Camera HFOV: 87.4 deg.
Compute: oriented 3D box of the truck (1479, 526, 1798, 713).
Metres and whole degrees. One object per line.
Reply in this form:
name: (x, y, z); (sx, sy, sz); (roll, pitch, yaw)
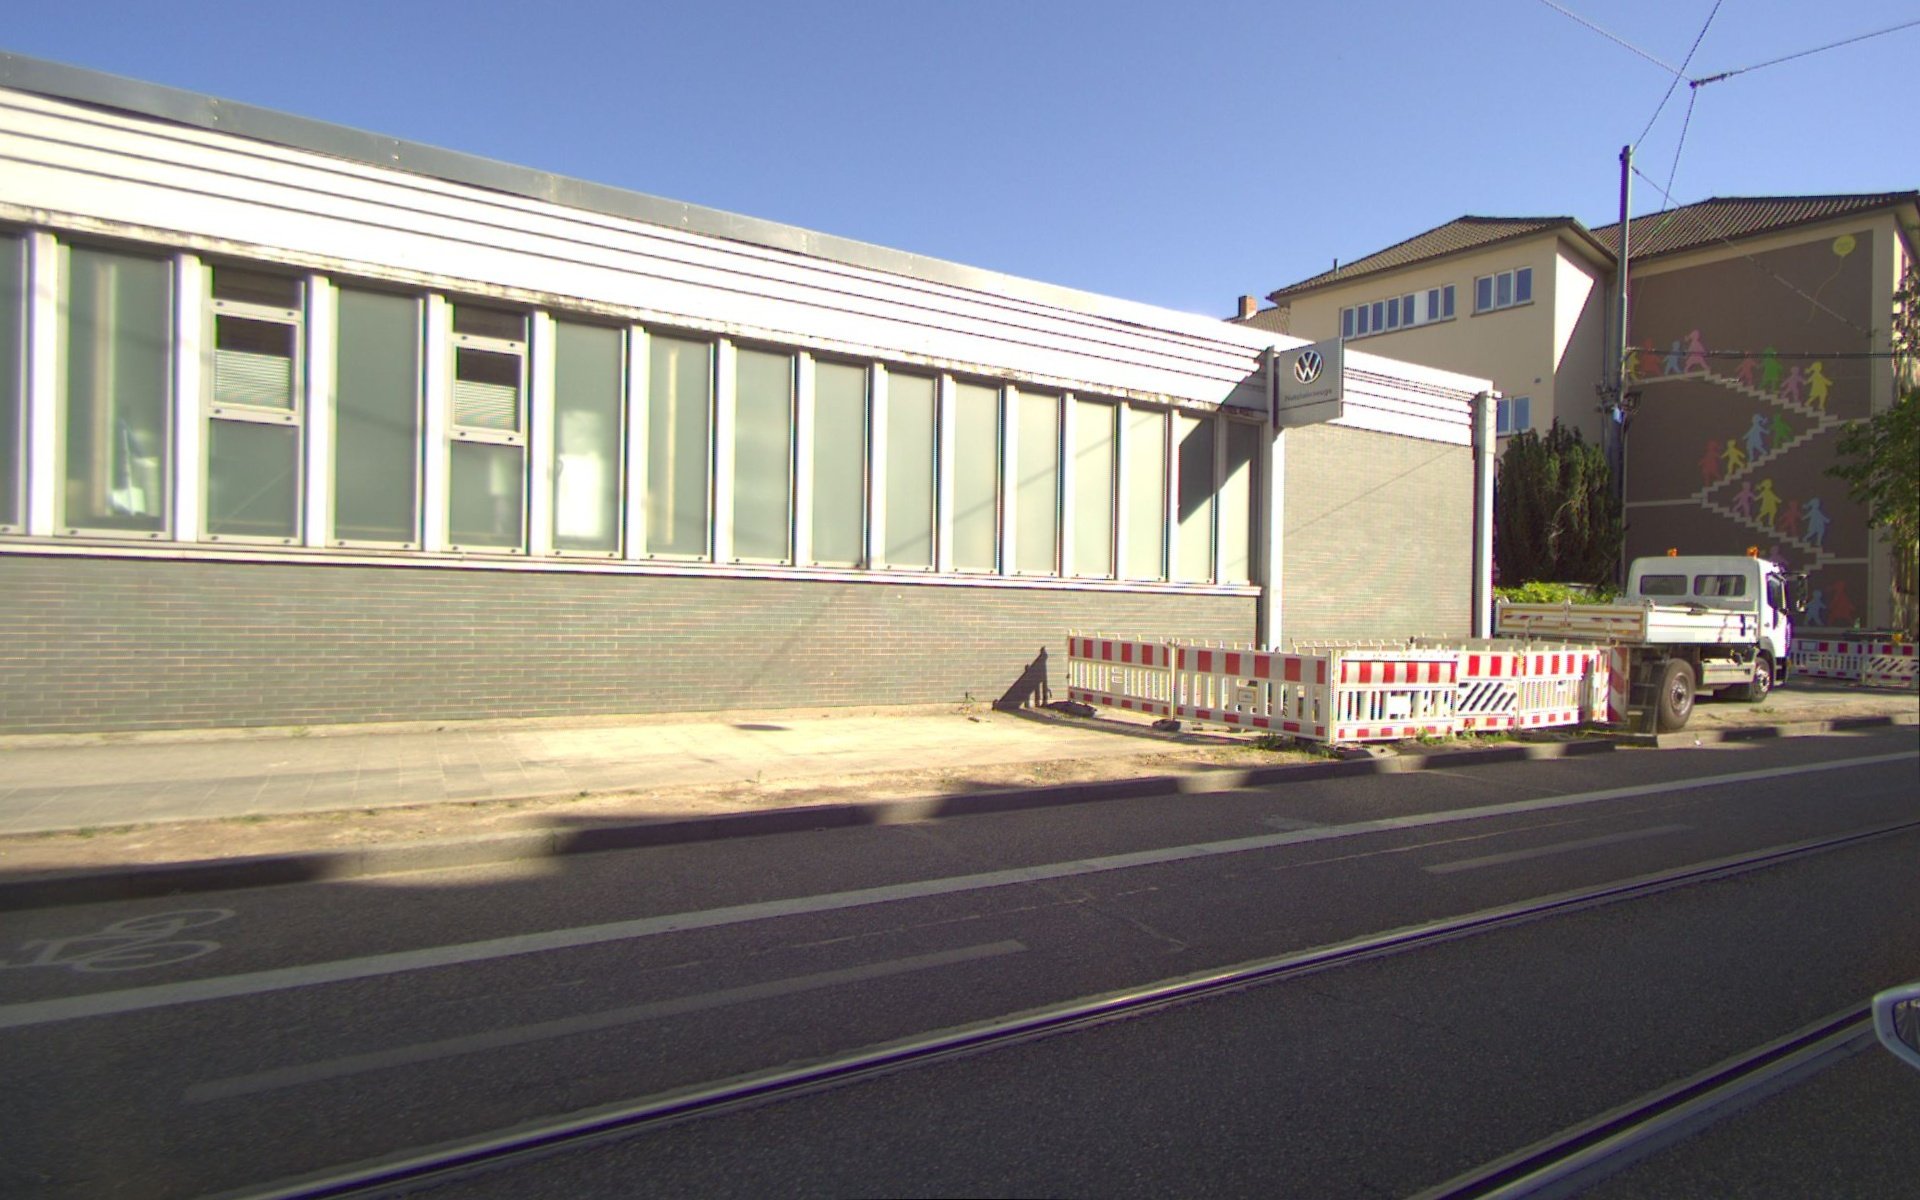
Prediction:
truck: (12.388, 0.356, 18.179); (6.310, 2.868, 2.522); (2, 1, -34)
